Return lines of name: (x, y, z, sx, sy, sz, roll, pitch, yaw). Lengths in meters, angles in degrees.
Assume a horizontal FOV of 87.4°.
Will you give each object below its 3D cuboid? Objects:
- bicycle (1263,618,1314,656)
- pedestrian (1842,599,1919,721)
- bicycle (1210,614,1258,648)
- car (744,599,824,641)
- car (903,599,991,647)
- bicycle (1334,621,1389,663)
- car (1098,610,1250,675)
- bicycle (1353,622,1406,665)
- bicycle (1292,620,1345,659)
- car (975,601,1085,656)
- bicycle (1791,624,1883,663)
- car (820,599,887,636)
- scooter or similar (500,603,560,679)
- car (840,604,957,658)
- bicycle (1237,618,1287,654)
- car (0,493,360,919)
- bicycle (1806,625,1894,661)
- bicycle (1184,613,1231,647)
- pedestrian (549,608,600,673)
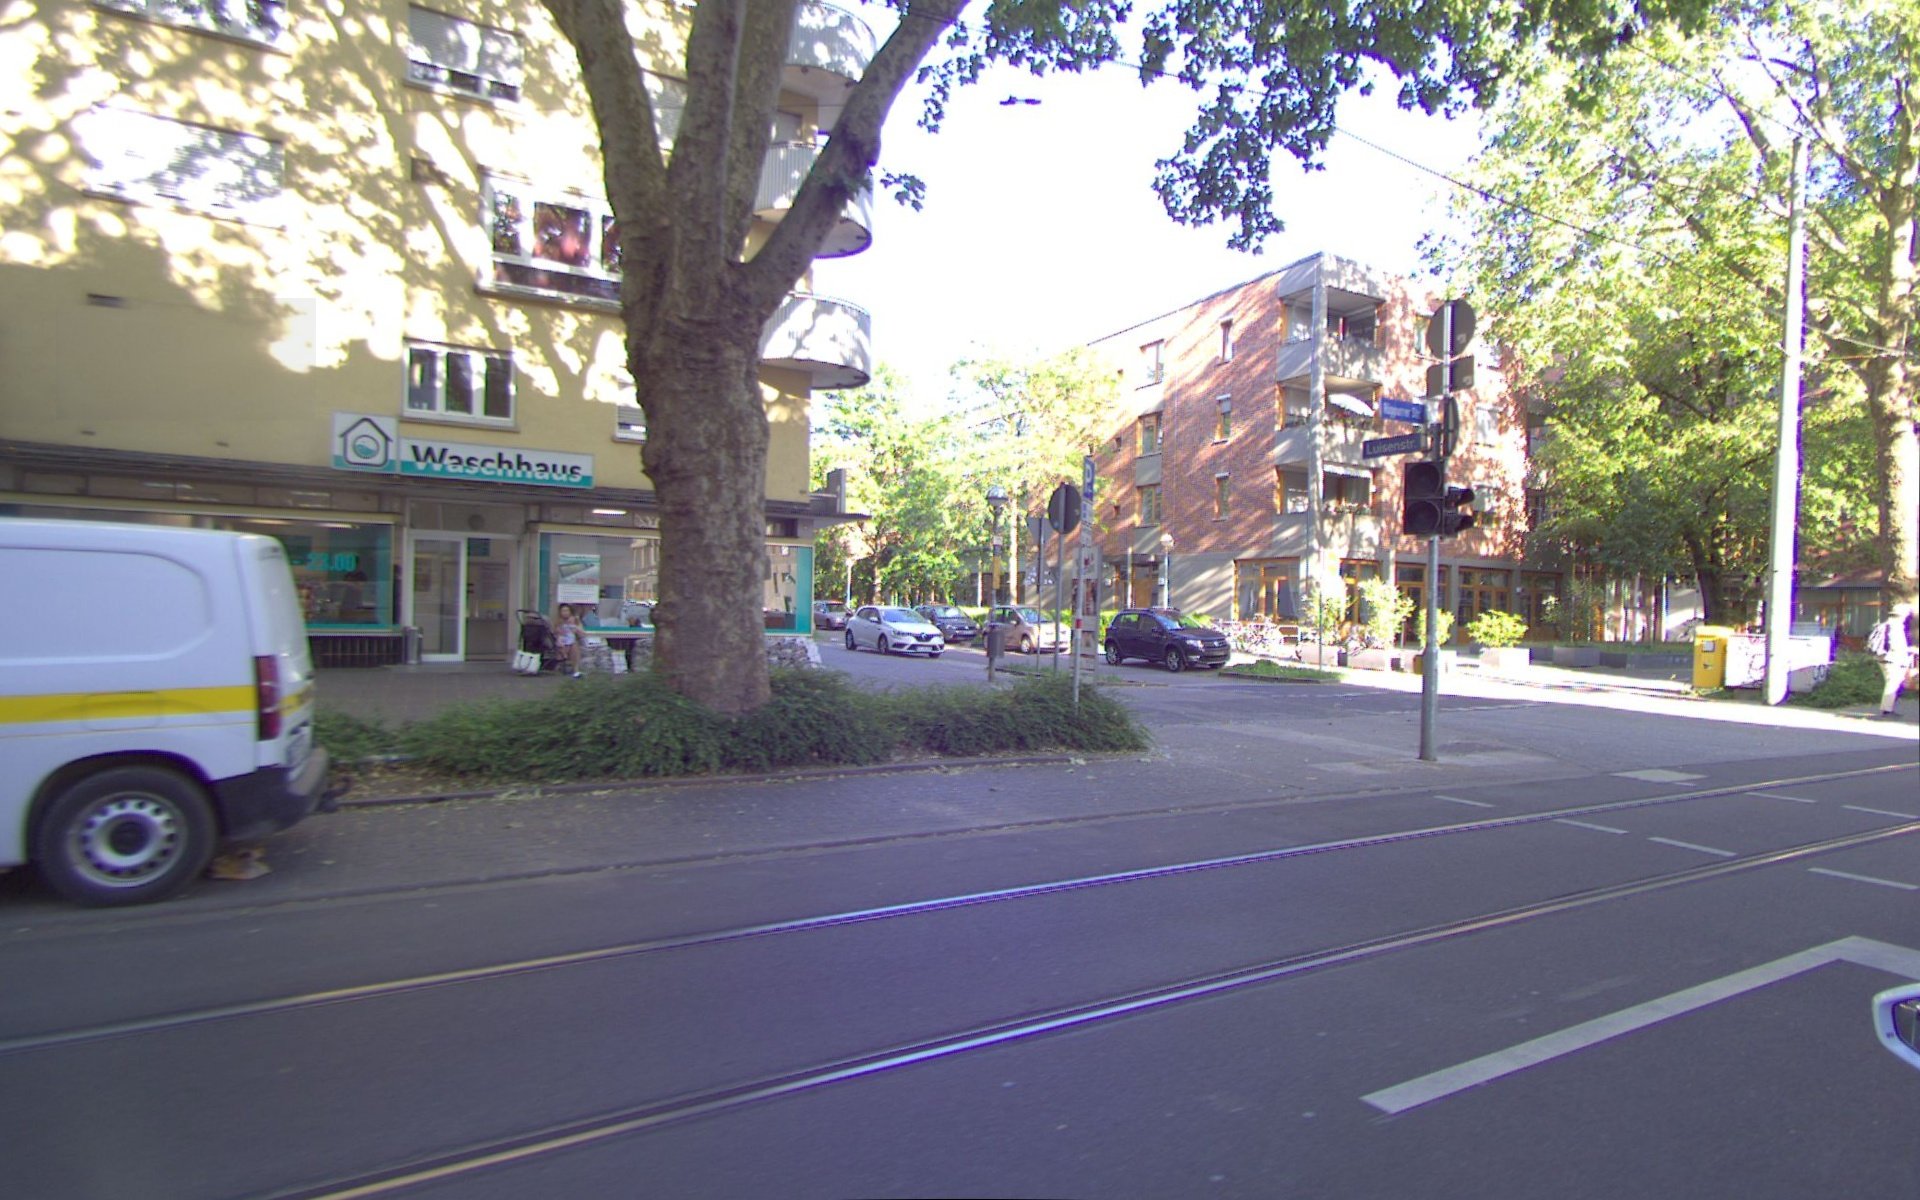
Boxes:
bicycle: (10.172, 1.119, 31.086, 1.619, 1.099, 0.539, -1, 2, -30)
pedestrian: (14.987, 0.930, 16.176, 0.910, 1.860, 0.919, -1, 2, -32)
bicycle: (9.083, 1.033, 33.302, 1.619, 1.098, 0.539, 2, 0, -30)
car: (-7.087, 0.778, 40.176, 1.976, 1.477, 3.970, 2, 0, -29)
car: (-0.591, 0.888, 40.024, 1.845, 1.684, 3.970, 2, 0, -29)
bicycle: (11.328, 1.168, 28.346, 1.619, 1.099, 0.539, -1, 2, -30)
car: (5.812, 1.124, 27.699, 1.976, 1.528, 3.970, 2, 0, -29)
bicycle: (11.620, 1.191, 27.793, 1.518, 1.099, 0.539, -1, 2, -30)
bicycle: (10.683, 1.175, 29.915, 1.619, 1.099, 0.539, 0, 2, -30)
car: (2.338, 0.919, 34.488, 1.936, 1.684, 3.970, -1, 1, -29)
bicycle: (32.558, 1.608, 37.324, 0.673, 1.235, 2.449, 2, 2, -27)
car: (-5.230, 0.842, 48.989, 1.815, 1.639, 3.970, 2, 0, -29)
scooter or similar: (-6.921, 0.649, 16.187, 0.662, 1.183, 0.644, 2, 0, -2)
car: (-1.918, 0.903, 29.984, 1.976, 1.394, 3.970, 2, 0, -29)
bicycle: (9.612, 1.141, 31.964, 1.619, 1.099, 0.539, 1, 1, -30)
car: (-5.372, 0.424, 4.746, 4.268, 1.875, 1.754, 2, 0, -30)
bicycle: (33.243, 1.591, 37.555, 0.673, 1.182, 2.331, 2, 1, -27)
bicycle: (8.494, 1.036, 34.502, 1.619, 1.098, 0.539, 2, 0, -30)
pedestrian: (-6.517, 0.677, 16.991, 0.703, 1.061, 0.575, 2, 0, -30)
